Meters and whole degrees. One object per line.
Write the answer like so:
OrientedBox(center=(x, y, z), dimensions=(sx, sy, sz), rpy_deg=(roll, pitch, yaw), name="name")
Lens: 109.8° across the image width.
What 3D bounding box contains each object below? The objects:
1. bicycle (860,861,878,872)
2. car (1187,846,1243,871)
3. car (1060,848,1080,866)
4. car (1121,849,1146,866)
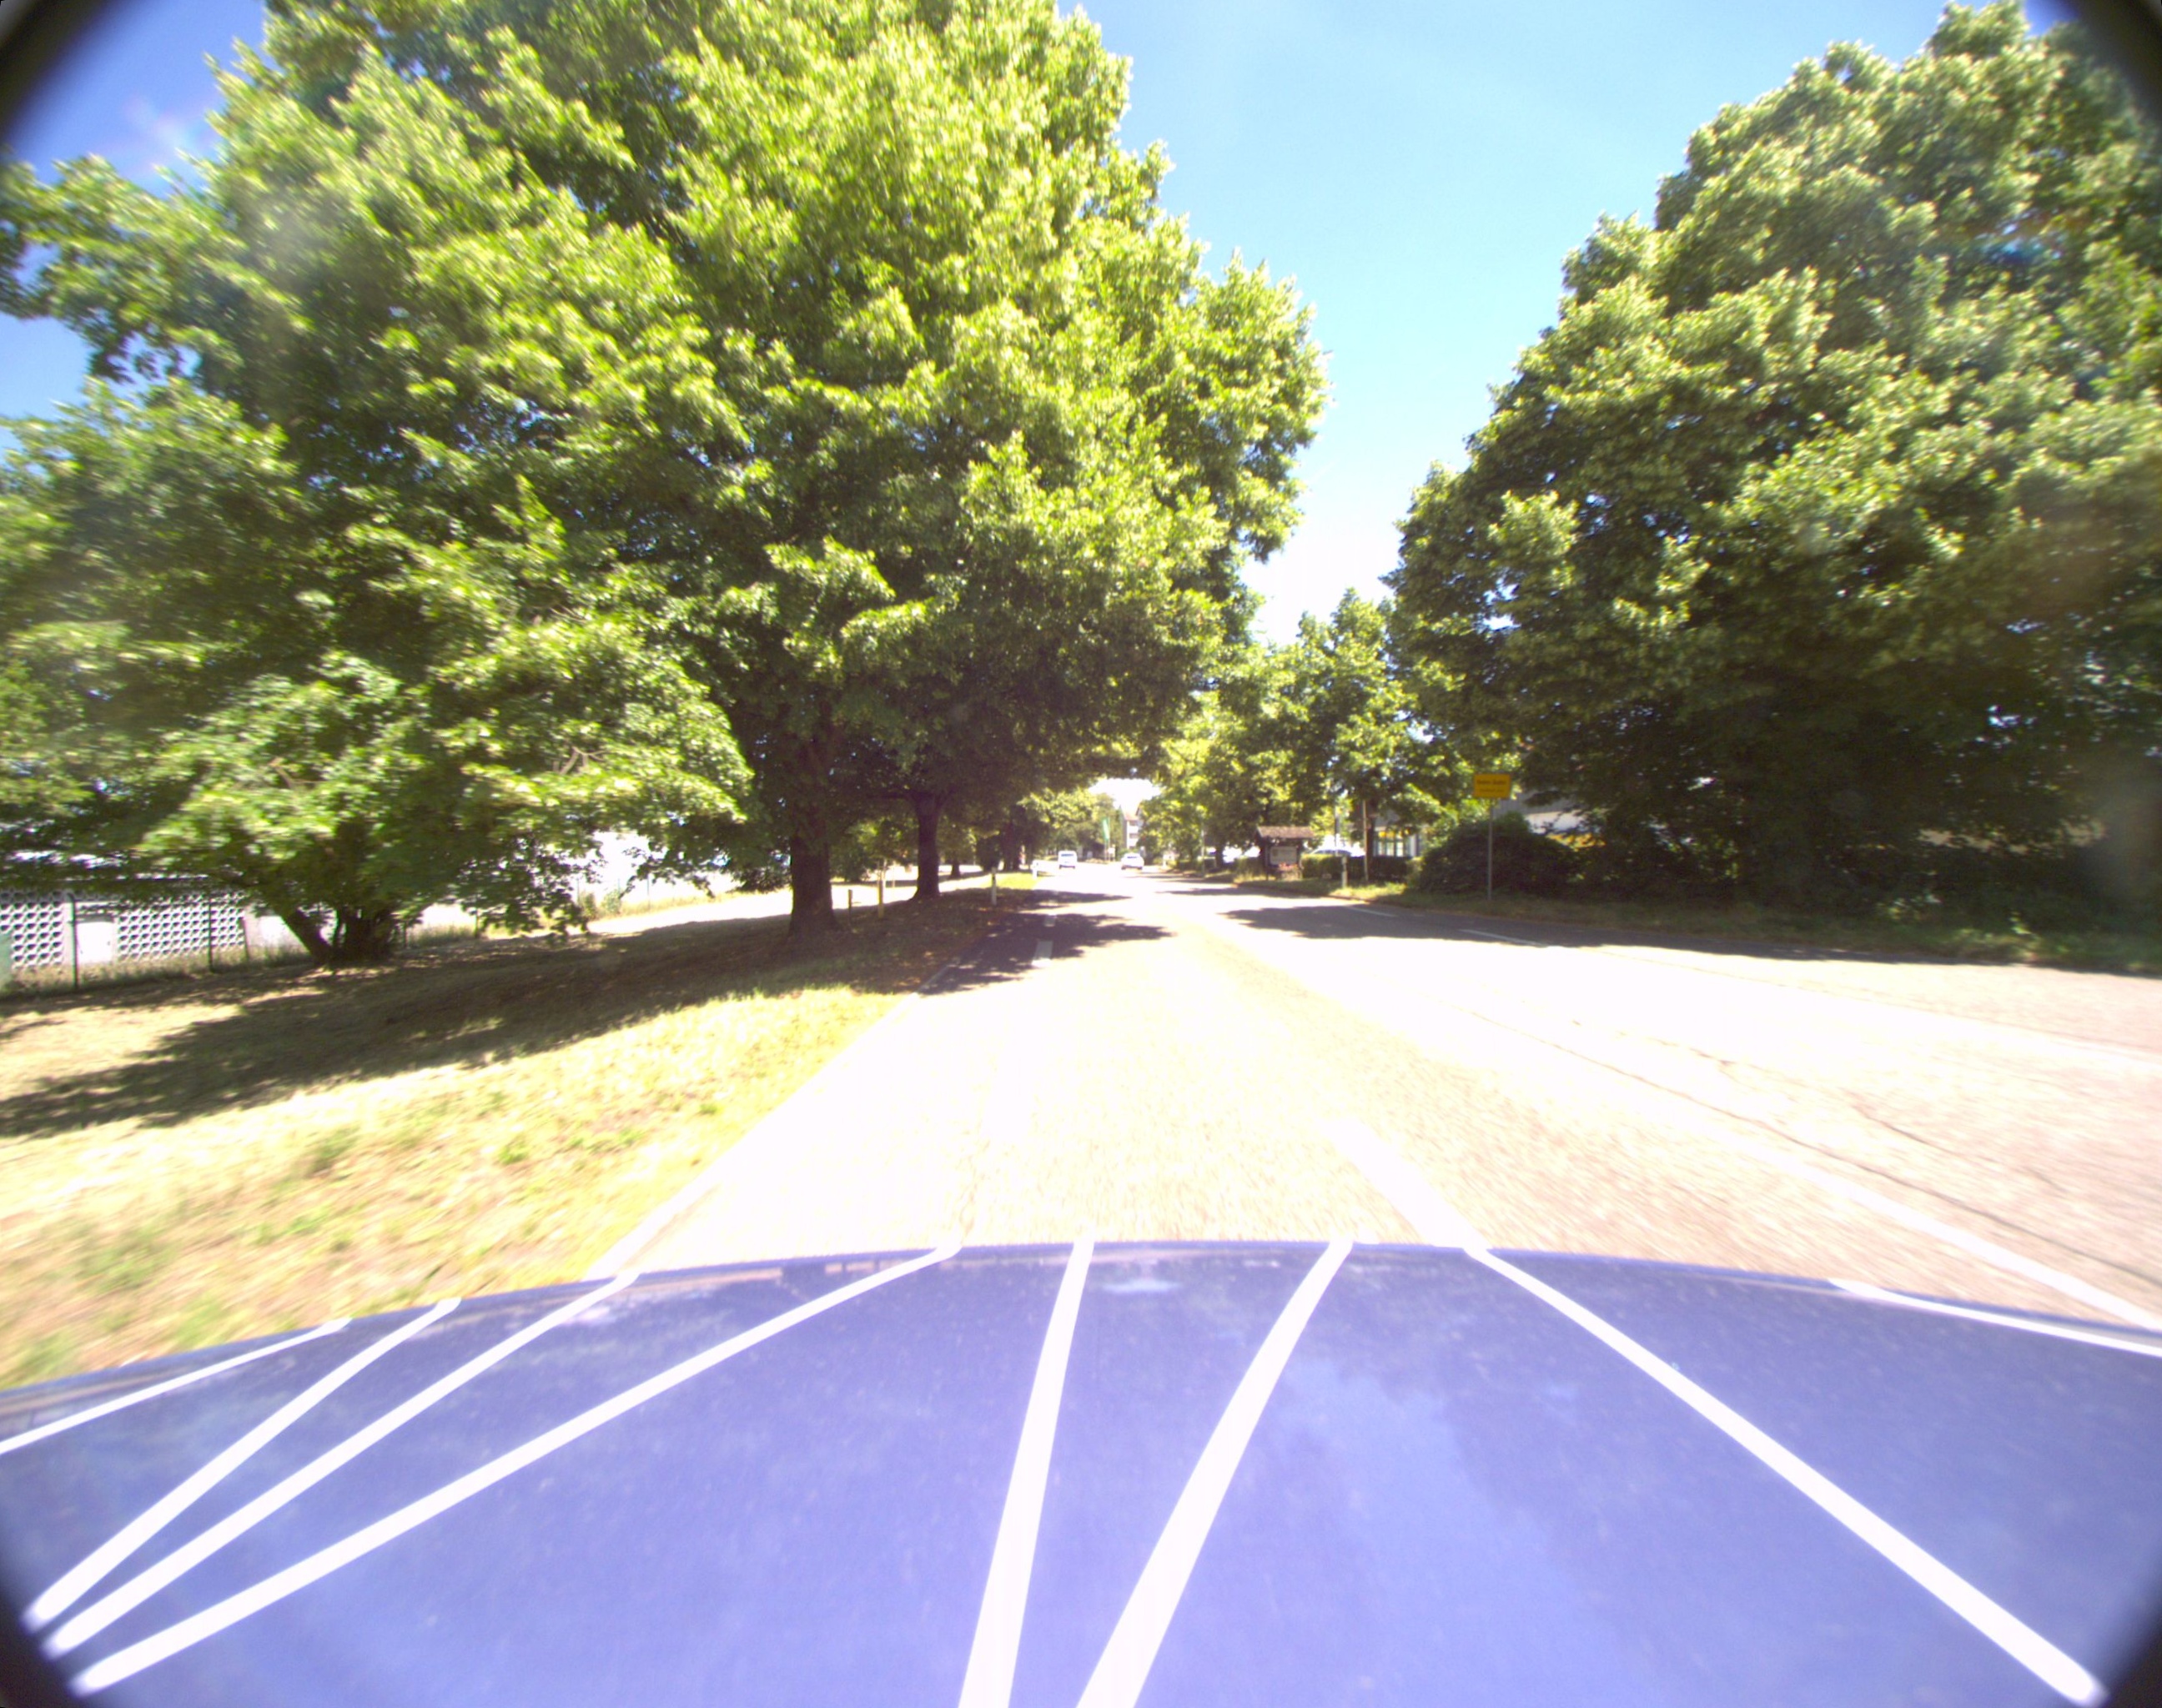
OrientedBox(center=(-21.837, 1.245, 78.160), dimensions=(1.697, 1.091, 0.467), rpy_deg=(-1, 1, 0), name="bicycle")
OrientedBox(center=(11.376, 0.347, 64.750), dimensions=(4.369, 1.969, 1.904), rpy_deg=(-1, 1, -5), name="car")
OrientedBox(center=(-1.246, 0.333, 85.731), dimensions=(1.797, 1.904, 3.637), rpy_deg=(-1, 1, -9), name="car")
OrientedBox(center=(5.085, 0.317, 74.138), dimensions=(2.099, 1.579, 4.474), rpy_deg=(-2, 1, -1), name="car")
